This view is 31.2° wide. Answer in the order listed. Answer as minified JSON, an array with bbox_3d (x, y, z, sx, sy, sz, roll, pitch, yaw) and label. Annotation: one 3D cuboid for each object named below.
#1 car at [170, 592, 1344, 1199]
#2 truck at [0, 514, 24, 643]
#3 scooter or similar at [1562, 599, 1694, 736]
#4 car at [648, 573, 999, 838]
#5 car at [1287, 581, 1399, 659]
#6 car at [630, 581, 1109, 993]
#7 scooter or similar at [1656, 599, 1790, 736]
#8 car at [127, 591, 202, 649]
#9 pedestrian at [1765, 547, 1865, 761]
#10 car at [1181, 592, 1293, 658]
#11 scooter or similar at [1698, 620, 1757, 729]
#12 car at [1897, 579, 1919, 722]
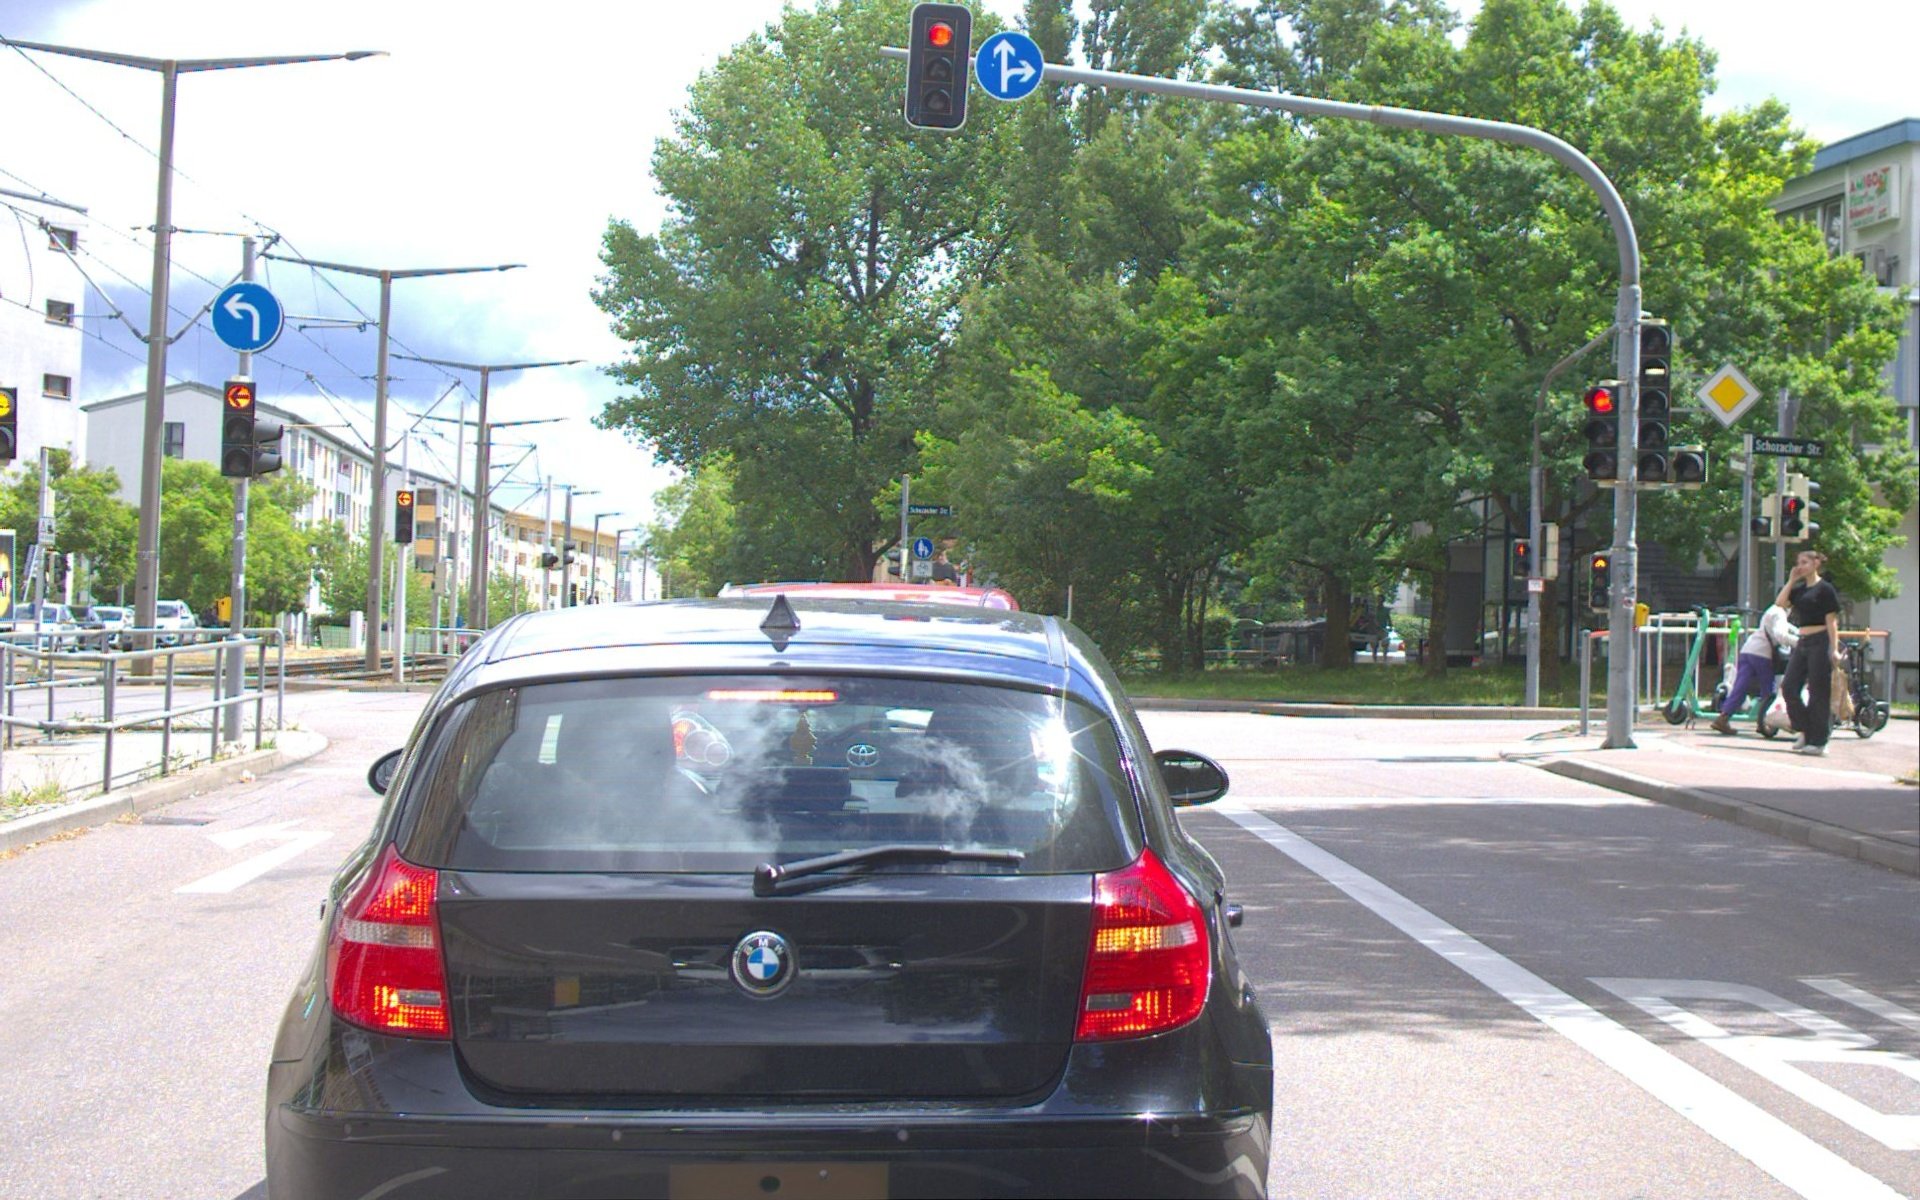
[{"bbox_3d":[-0.319,0.707,6.729,1.700,1.395,3.420,1,0,-1],"label":"car"},{"bbox_3d":[-24.232,-0.530,82.047,2.281,3.107,7.319,1,0,-5],"label":"truck"},{"bbox_3d":[6.171,0.617,31.779,1.110,1.231,0.539,1,0,2],"label":"scooter or similar"},{"bbox_3d":[-0.774,0.560,21.102,1.900,1.417,4.539,1,0,-1],"label":"car"},{"bbox_3d":[9.543,0.486,85.847,1.726,1.865,4.001,1,0,-9],"label":"car"},{"bbox_3d":[-0.332,0.640,13.632,1.638,1.395,3.420,1,0,-1],"label":"car"},{"bbox_3d":[7.306,0.637,32.945,1.151,1.268,0.555,1,0,4],"label":"scooter or similar"},{"bbox_3d":[-25.324,0.621,109.566,1.591,1.750,3.775,1,0,-2],"label":"car"},{"bbox_3d":[7.551,0.471,30.366,0.636,1.870,0.518,1,0,-17],"label":"pedestrian"},{"bbox_3d":[7.273,0.649,90.684,1.862,1.656,4.001,1,0,-11],"label":"car"},{"bbox_3d":[7.795,0.743,34.901,0.548,1.060,1.261,1,0,13],"label":"scooter or similar"},{"bbox_3d":[15.809,0.689,48.559,4.534,2.007,2.000,-1,0,-8],"label":"car"}]
